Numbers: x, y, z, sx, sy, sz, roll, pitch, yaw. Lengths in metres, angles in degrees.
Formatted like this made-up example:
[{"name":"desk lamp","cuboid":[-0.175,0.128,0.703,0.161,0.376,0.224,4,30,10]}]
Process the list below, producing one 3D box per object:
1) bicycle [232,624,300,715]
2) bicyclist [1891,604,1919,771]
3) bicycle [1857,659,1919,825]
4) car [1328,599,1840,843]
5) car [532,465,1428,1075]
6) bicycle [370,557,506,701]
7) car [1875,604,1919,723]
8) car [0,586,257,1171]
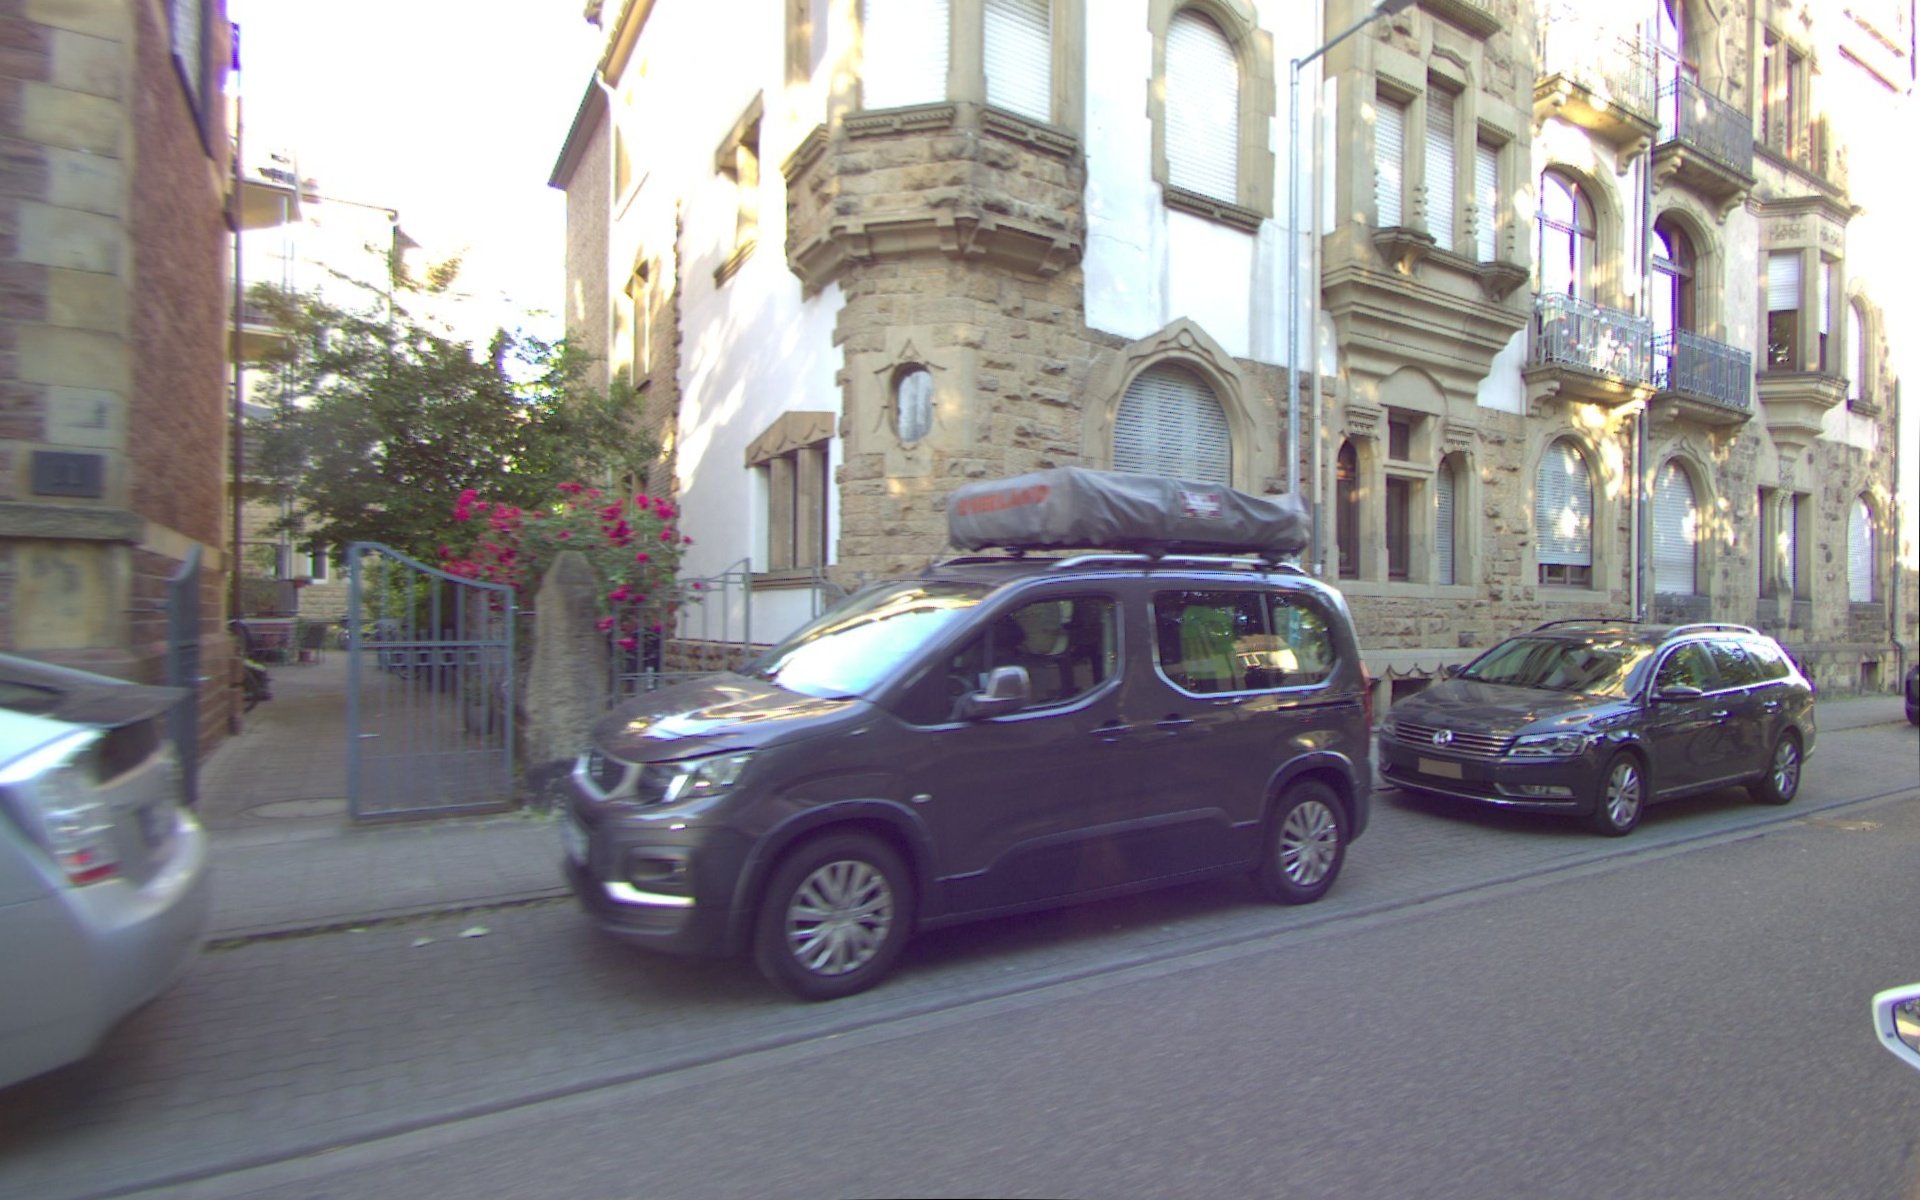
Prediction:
[{"name":"bicycle","cuboid":[-9.210,0.866,13.288,0.605,1.093,2.333,1,-1,-38]},{"name":"bicyclist","cuboid":[8.340,0.708,8.337,1.049,1.363,0.661,0,-2,-35]},{"name":"bicycle","cuboid":[8.349,1.111,8.340,2.594,1.194,0.748,0,-2,-35]},{"name":"car","cuboid":[5.398,0.876,8.507,4.653,1.595,1.721,2,-1,-30]},{"name":"car","cuboid":[0.282,0.570,5.345,4.450,2.001,1.957,1,1,-33]},{"name":"bicycle","cuboid":[-7.918,0.430,15.377,0.996,2.040,2.196,0,-1,-3]},{"name":"car","cuboid":[15.402,0.945,14.666,4.349,1.643,2.038,2,-2,-33]},{"name":"car","cuboid":[-4.406,0.704,2.381,4.408,1.519,1.719,1,1,-34]}]
